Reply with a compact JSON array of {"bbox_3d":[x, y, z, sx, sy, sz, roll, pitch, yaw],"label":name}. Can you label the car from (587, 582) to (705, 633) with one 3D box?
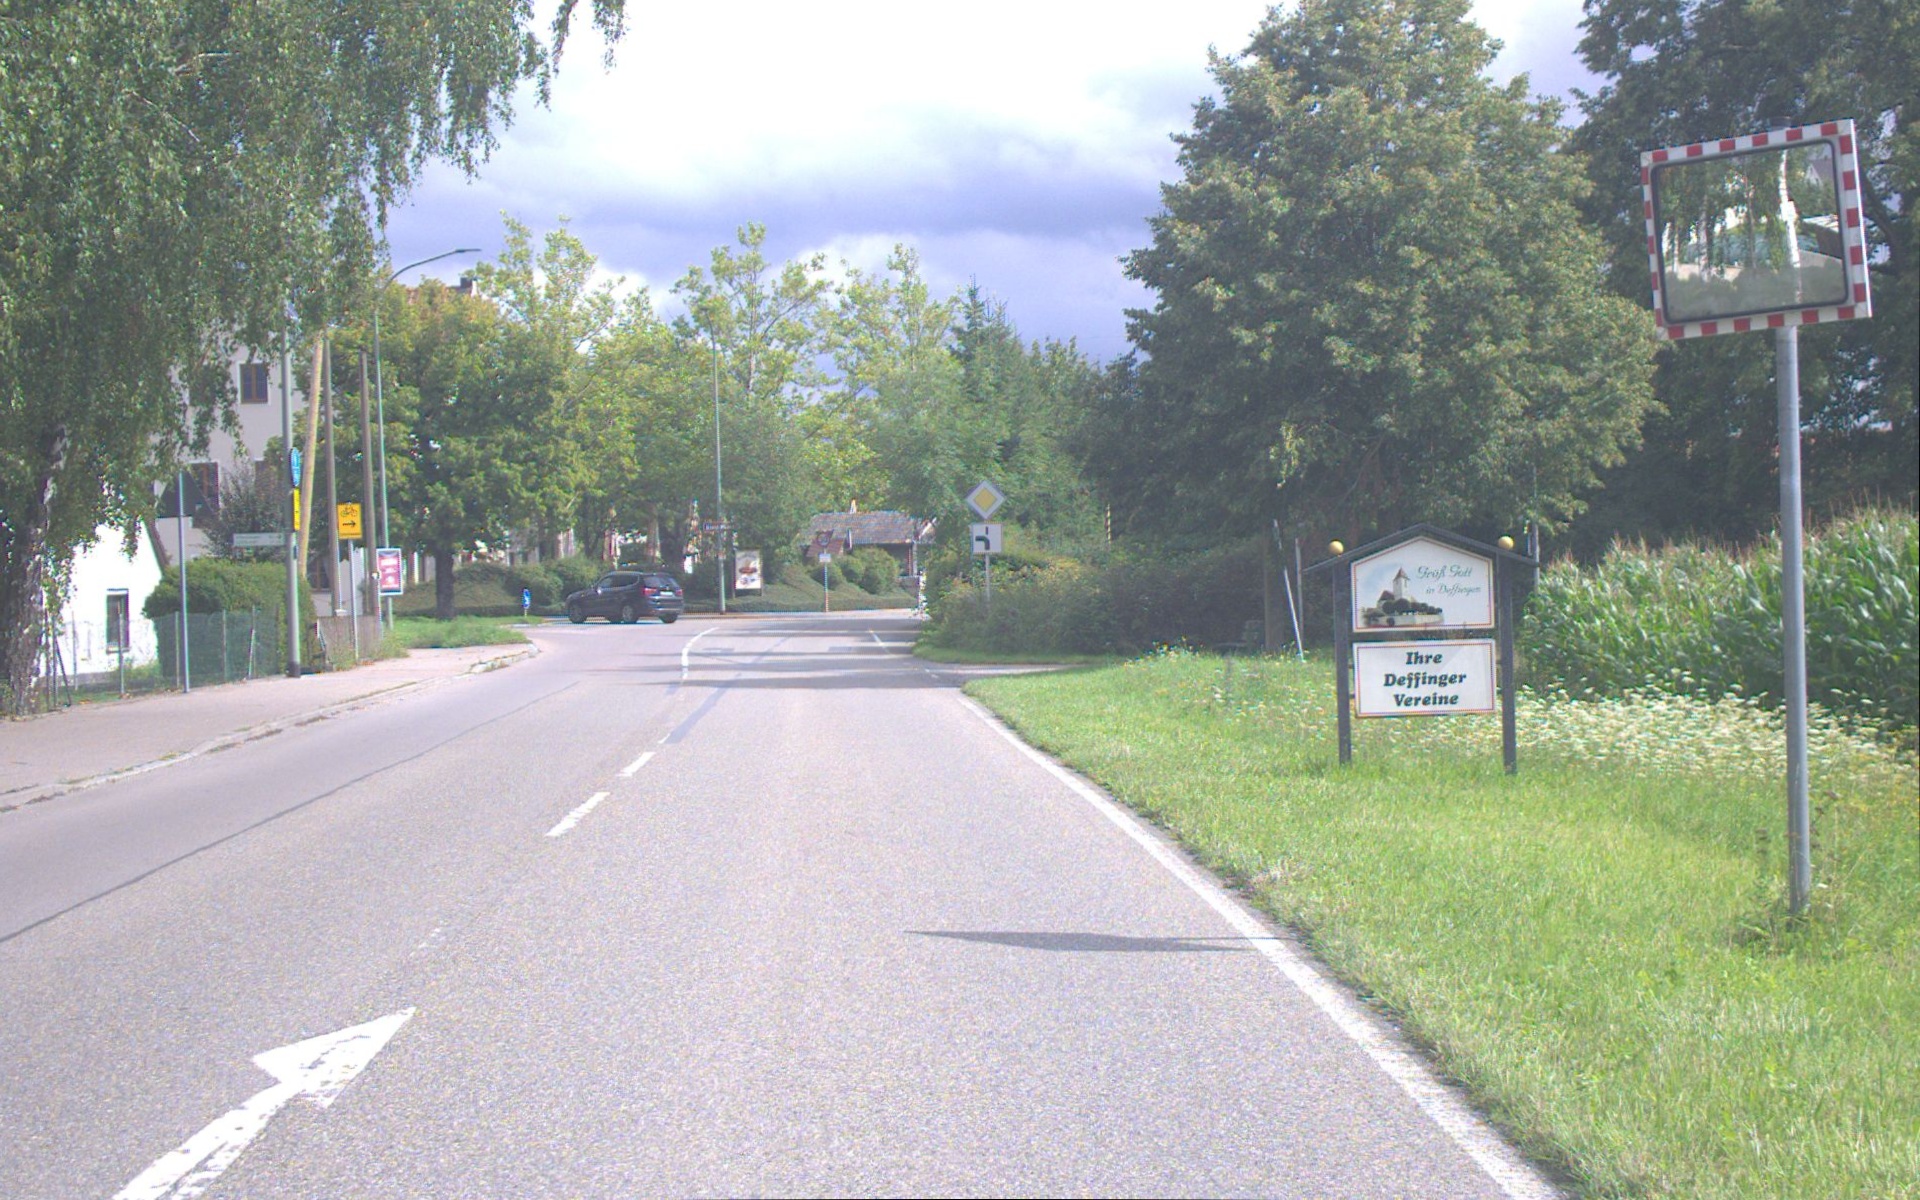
[{"bbox_3d":[-10.239,0.234,112.057,1.994,1.579,3.999,-2,2,-37],"label":"car"}]
